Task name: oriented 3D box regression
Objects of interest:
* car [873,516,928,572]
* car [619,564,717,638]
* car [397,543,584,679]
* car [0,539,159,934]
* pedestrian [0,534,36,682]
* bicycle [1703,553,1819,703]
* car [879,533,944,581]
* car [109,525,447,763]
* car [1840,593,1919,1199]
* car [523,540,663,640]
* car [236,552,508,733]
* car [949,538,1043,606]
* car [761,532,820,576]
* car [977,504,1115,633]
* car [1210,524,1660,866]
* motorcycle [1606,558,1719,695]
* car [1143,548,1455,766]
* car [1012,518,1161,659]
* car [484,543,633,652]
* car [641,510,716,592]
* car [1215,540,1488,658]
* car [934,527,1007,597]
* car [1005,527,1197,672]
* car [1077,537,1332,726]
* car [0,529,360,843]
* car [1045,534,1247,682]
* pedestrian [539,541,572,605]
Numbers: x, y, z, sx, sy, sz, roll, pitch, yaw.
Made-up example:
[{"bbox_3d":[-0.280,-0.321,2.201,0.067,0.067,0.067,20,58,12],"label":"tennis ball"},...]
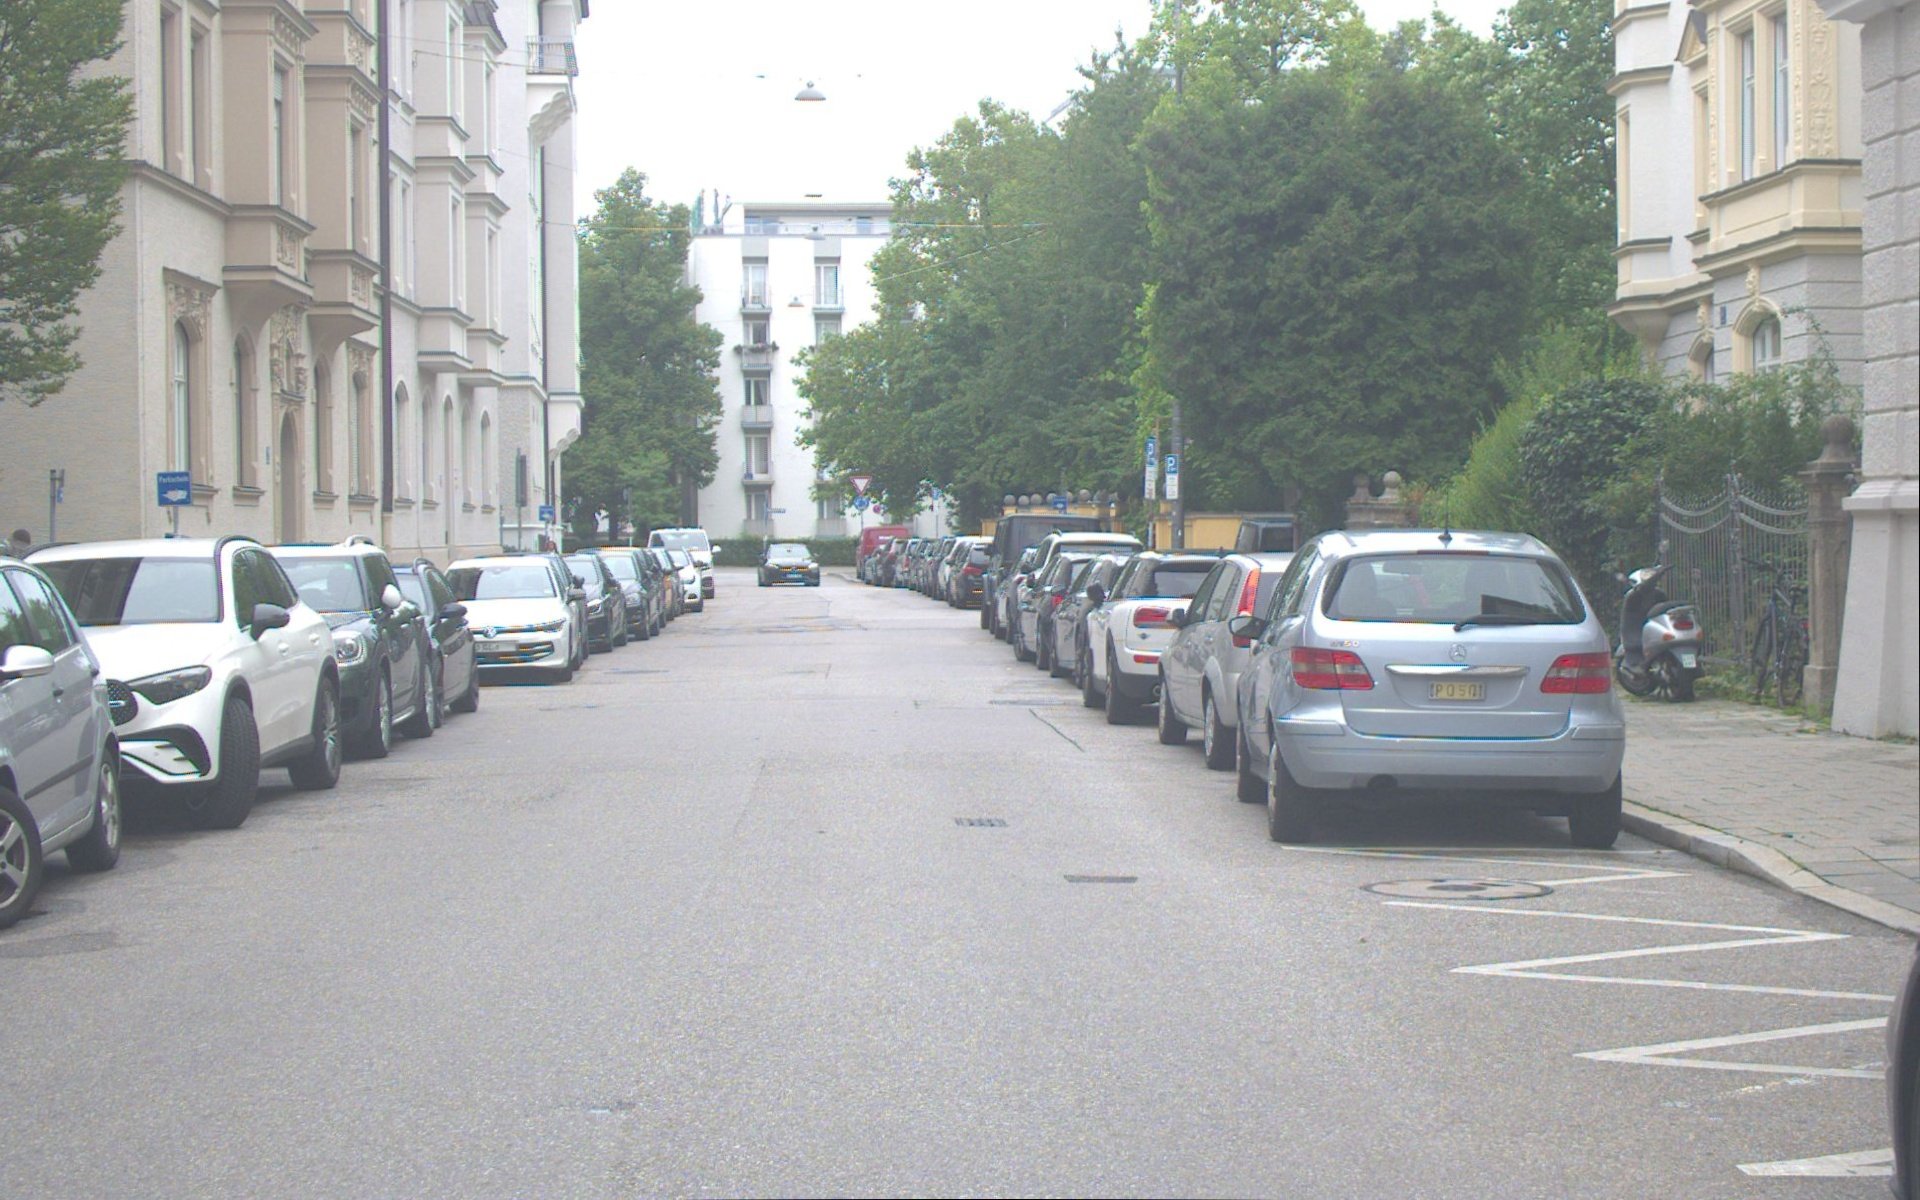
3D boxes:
[{"bbox_3d":[-2.138,-2.057,125.185,1.836,1.920,4.005,2,2,0],"label":"car"},{"bbox_3d":[-6.511,0.006,76.916,1.836,1.433,4.275,-3,2,-1],"label":"car"},{"bbox_3d":[-5.563,0.092,41.140,1.836,1.429,4.245,-2,2,-3],"label":"car"},{"bbox_3d":[-4.834,0.535,15.385,1.782,1.536,4.258,-3,1,-5],"label":"car"},{"bbox_3d":[-10.678,0.083,38.202,0.673,1.620,0.631,-1,1,-4],"label":"pedestrian"},{"bbox_3d":[6.313,0.199,27.155,0.434,1.122,1.882,-1,1,-1],"label":"bicycle"},{"bbox_3d":[-1.615,-1.416,113.296,1.838,1.513,3.948,1,1,-5],"label":"car"},{"bbox_3d":[-5.046,0.260,25.969,1.836,1.613,4.245,0,2,-2],"label":"car"},{"bbox_3d":[2.909,0.749,4.577,1.993,1.452,4.713,-1,1,-4],"label":"car"},{"bbox_3d":[-5.967,-0.189,56.294,1.836,1.431,4.245,-3,2,-1],"label":"car"},{"bbox_3d":[-5.102,0.320,30.338,1.787,1.407,4.368,0,2,-2],"label":"car"},{"bbox_3d":[0.749,-0.620,74.610,1.838,1.408,4.343,1,1,-2],"label":"car"},{"bbox_3d":[-5.706,-1.559,115.590,1.874,1.423,4.410,0,1,-4],"label":"car"},{"bbox_3d":[1.374,-0.560,56.629,1.950,1.947,4.666,1,2,-2],"label":"car"},{"bbox_3d":[2.456,0.412,18.826,1.822,1.564,4.401,2,2,0],"label":"car"},{"bbox_3d":[5.977,0.206,29.341,0.607,1.108,1.964,0,1,2],"label":"motorcycle"},{"bbox_3d":[2.312,0.349,24.228,1.754,1.401,3.452,0,1,-2],"label":"car"},{"bbox_3d":[1.679,-0.174,46.959,1.723,1.763,4.413,2,1,-1],"label":"car"},{"bbox_3d":[-5.864,-0.071,50.676,1.833,1.429,4.554,-2,2,-3],"label":"car"},{"bbox_3d":[-7.788,-1.375,95.371,1.886,2.120,4.707,-3,2,-4],"label":"car"},{"bbox_3d":[7.009,-0.044,61.815,4.528,1.943,1.904,-1,3,-8],"label":"car"},{"bbox_3d":[0.232,-0.940,84.628,1.513,1.656,3.675,1,1,-4],"label":"car"},{"bbox_3d":[1.660,-0.053,41.961,1.750,1.605,4.425,1,2,-5],"label":"car"},{"bbox_3d":[2.037,0.214,29.643,1.784,1.499,4.065,0,1,-2],"label":"car"},{"bbox_3d":[-4.872,0.407,20.343,1.915,1.613,4.572,0,2,-1],"label":"car"},{"bbox_3d":[1.959,0.042,37.265,1.683,1.499,4.019,0,1,-4],"label":"car"},{"bbox_3d":[-10.603,-0.704,90.137,0.792,1.673,0.700,-1,1,-10],"label":"pedestrian"}]
